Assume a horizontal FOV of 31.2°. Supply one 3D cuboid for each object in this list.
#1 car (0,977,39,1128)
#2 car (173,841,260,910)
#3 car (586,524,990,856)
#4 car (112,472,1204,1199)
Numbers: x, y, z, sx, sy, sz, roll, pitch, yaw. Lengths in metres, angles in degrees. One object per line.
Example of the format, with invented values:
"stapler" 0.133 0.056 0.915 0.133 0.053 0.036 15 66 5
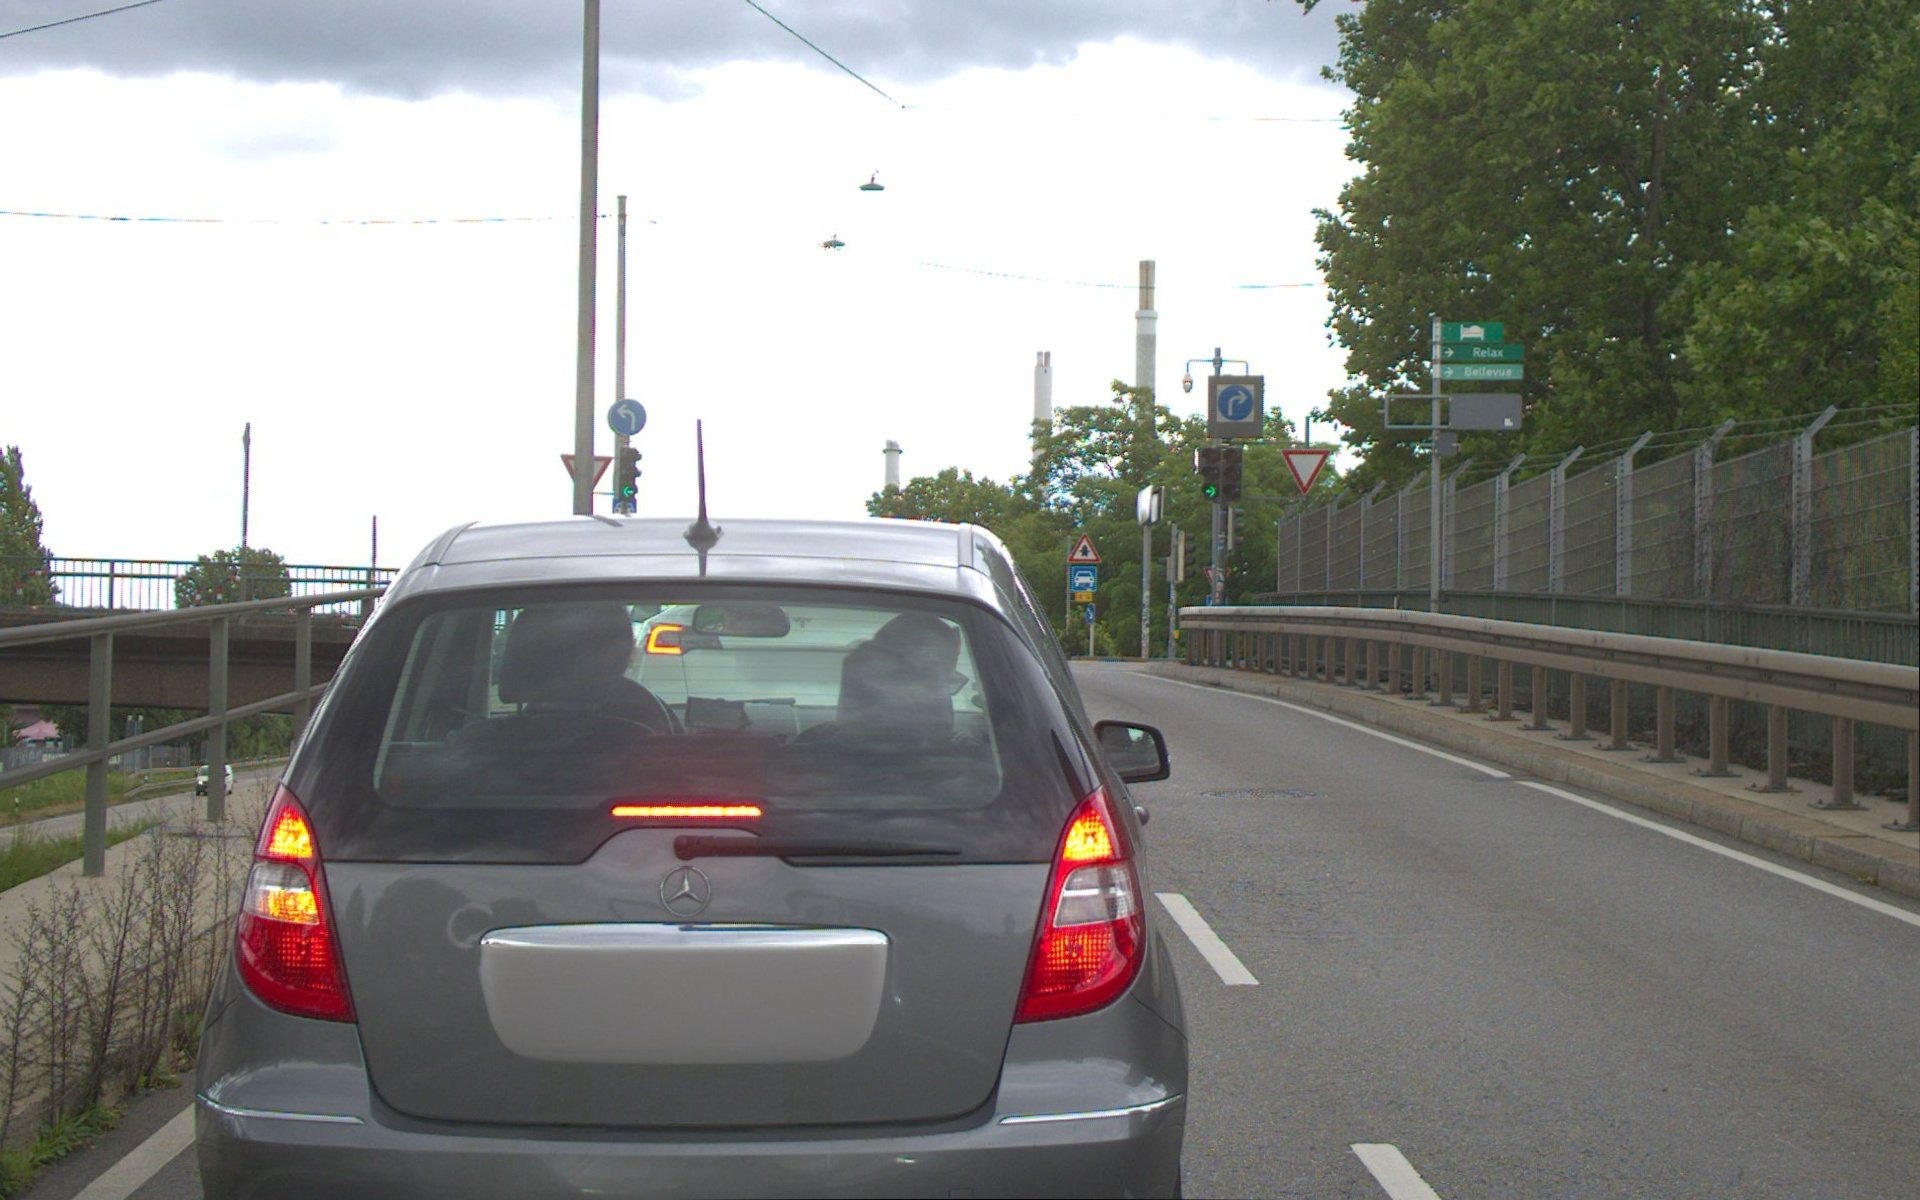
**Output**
"car" -11.197 4.792 35.139 1.936 1.496 4.302 -1 -1 8
"car" -20.763 7.683 96.150 1.854 1.495 4.001 0 1 -5
"car" -0.882 0.402 19.024 1.993 1.597 4.001 0 2 -1
"car" -0.349 0.604 7.525 1.750 1.575 4.084 0 0 4
